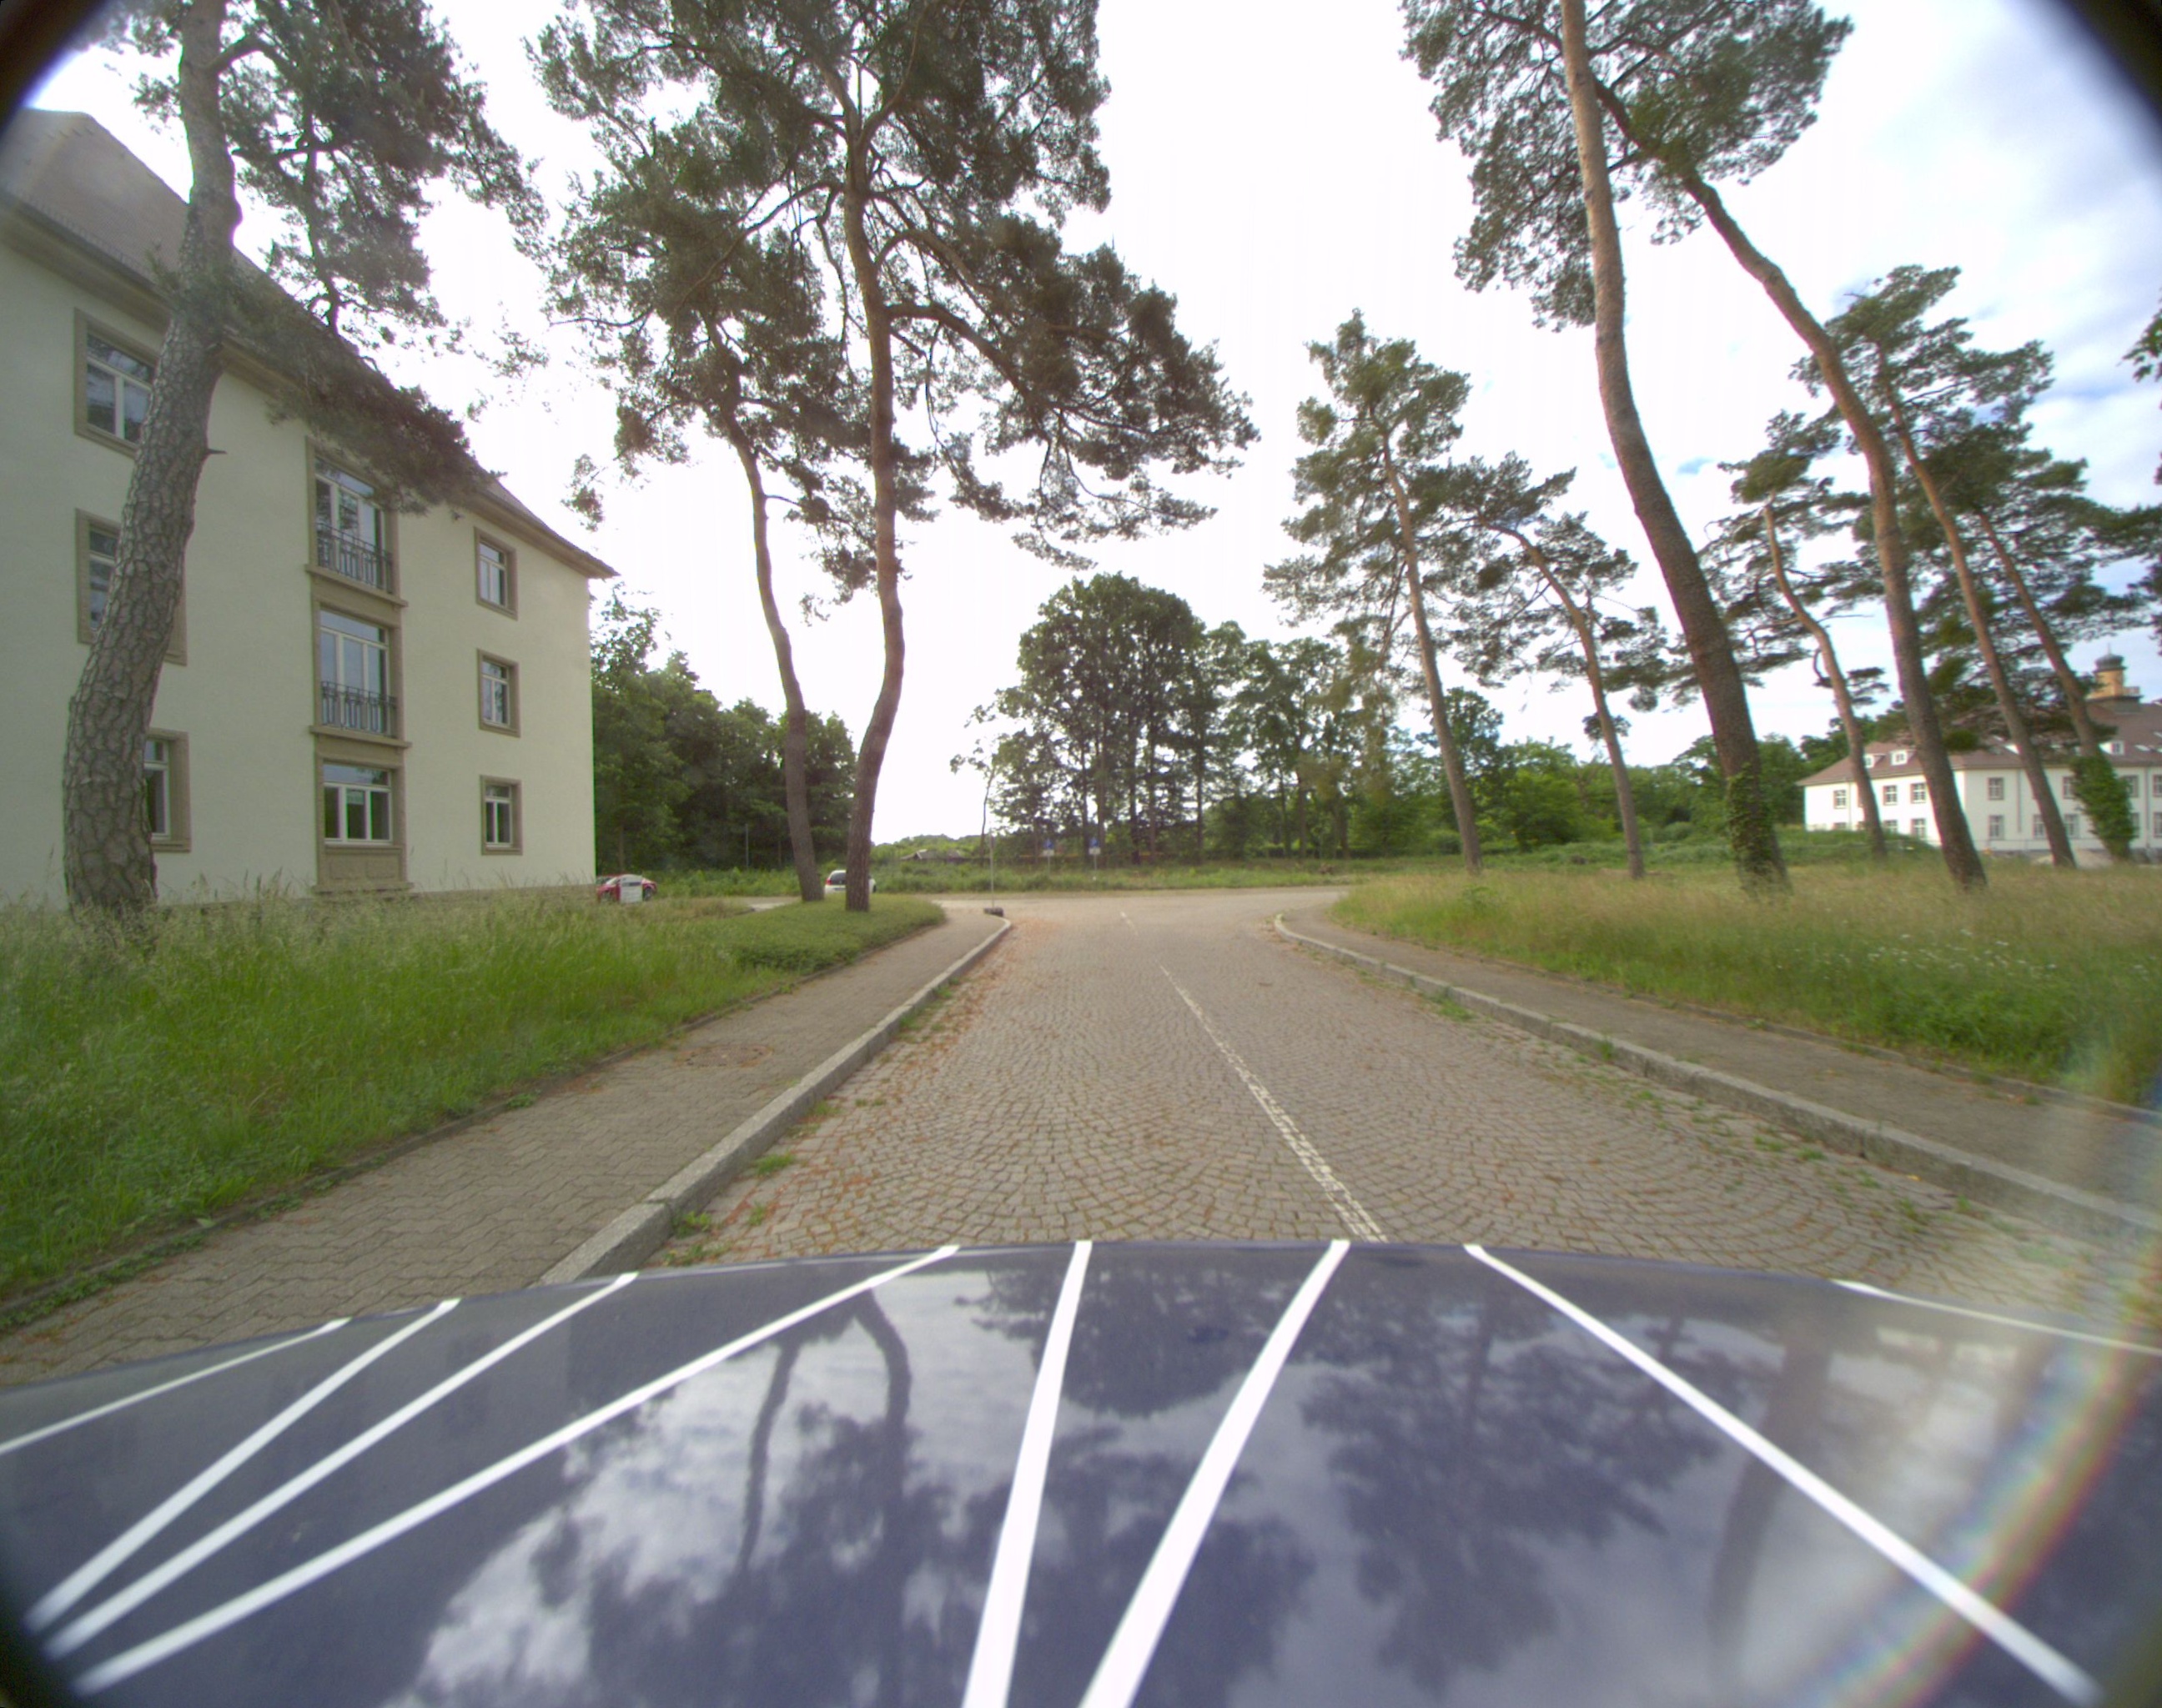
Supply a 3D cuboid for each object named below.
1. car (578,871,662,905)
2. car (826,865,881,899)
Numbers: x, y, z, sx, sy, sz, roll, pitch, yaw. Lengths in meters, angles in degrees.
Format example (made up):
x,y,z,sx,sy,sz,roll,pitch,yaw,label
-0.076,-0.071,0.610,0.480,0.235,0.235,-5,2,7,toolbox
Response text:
x,y,z,sx,sy,sz,roll,pitch,yaw,label
-22.495,1.632,37.264,1.641,1.321,3.999,-1,2,0,car
-11.191,1.365,37.573,1.641,1.426,3.277,-1,2,1,car
